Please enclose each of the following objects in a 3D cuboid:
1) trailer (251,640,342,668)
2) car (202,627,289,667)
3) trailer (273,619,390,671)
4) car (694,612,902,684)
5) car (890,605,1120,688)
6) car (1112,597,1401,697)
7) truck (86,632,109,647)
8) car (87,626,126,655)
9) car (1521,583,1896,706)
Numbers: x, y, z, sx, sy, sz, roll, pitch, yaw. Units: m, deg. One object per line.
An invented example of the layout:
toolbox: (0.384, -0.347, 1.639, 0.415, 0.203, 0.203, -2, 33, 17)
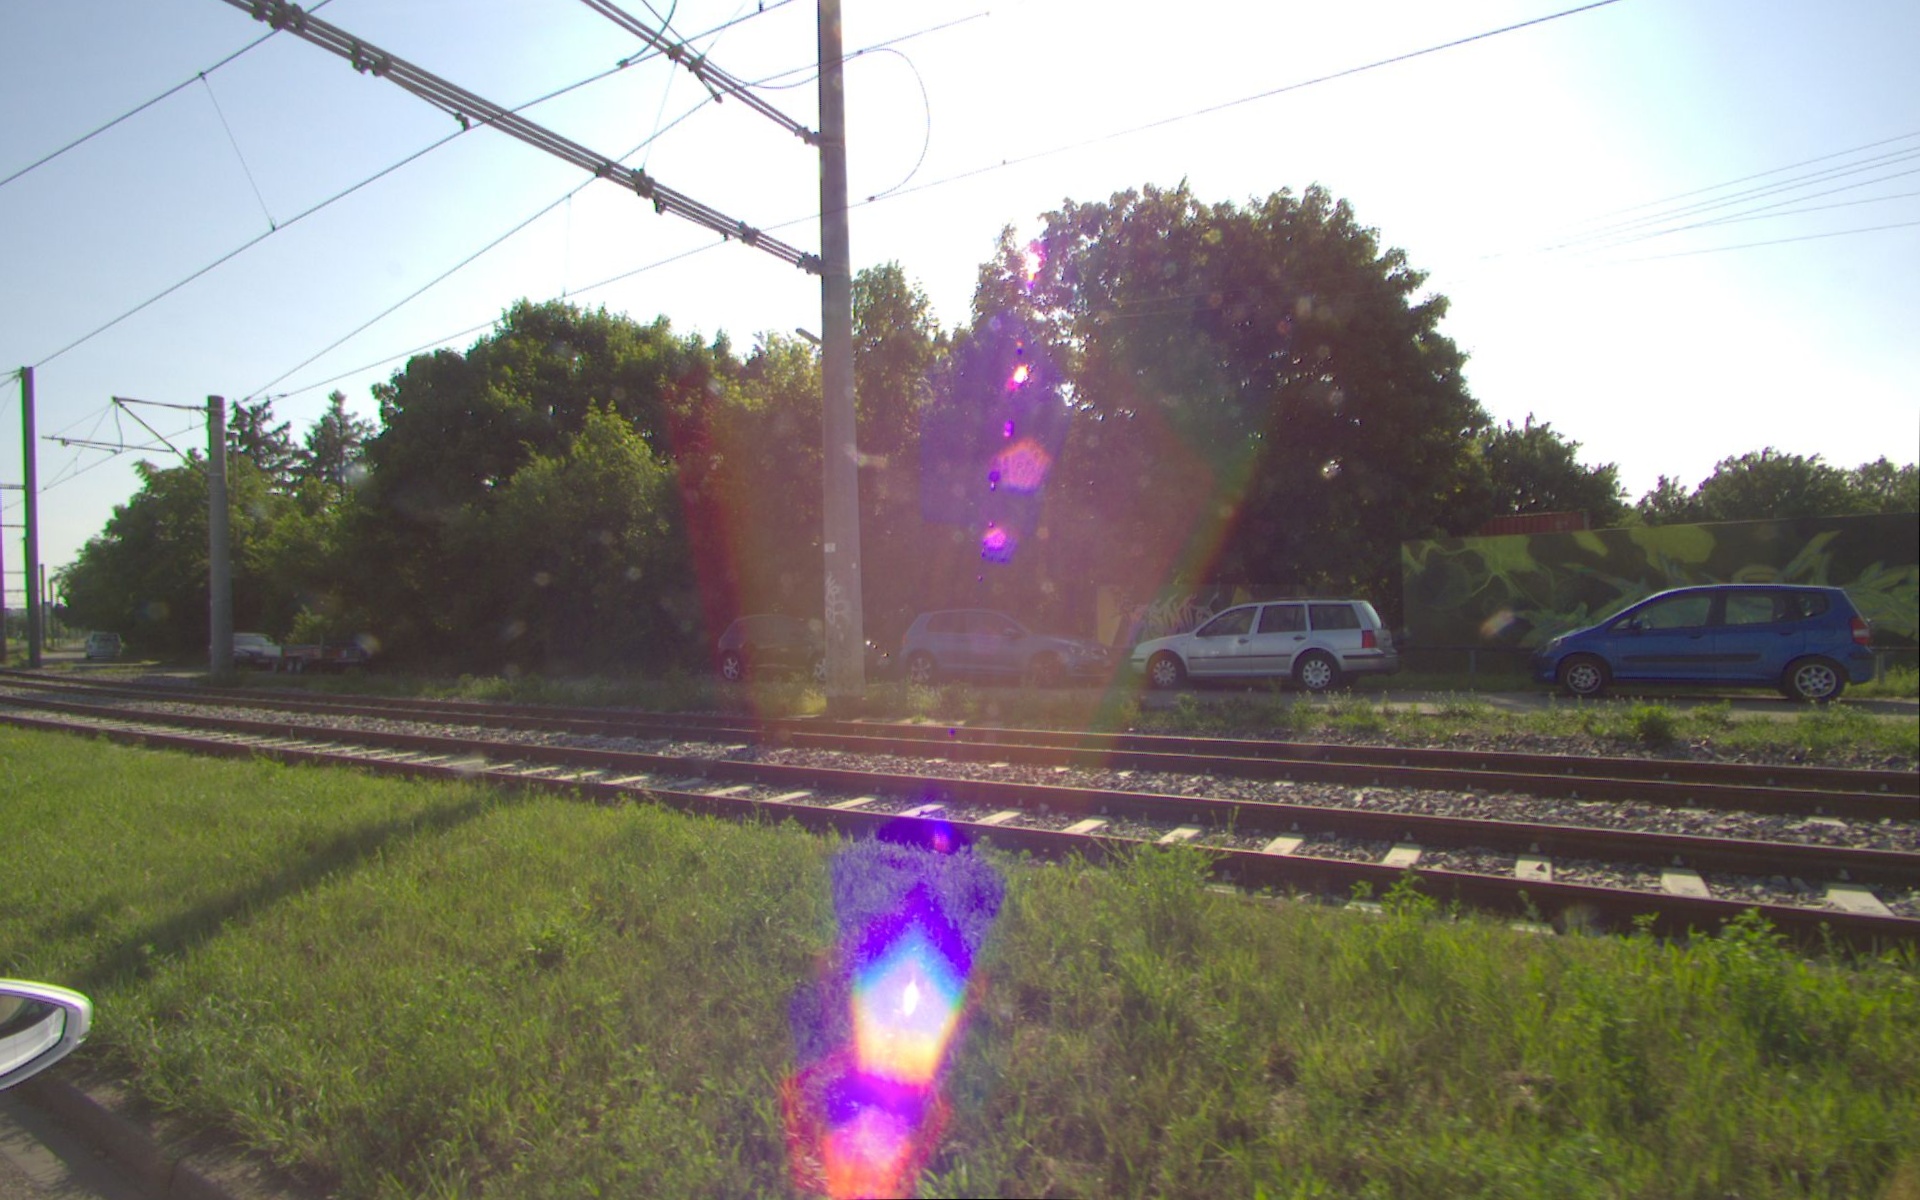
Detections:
trailer: (-23.779, 1.940, 35.854, 3.684, 0.951, 1.725, -2, -4, 40)
car: (-27.597, 1.792, 38.620, 4.826, 1.474, 1.691, -1, -3, 42)
trailer: (-20.833, 1.502, 33.149, 4.208, 1.616, 2.019, -2, -3, 39)
car: (-3.537, 1.019, 21.546, 4.455, 1.428, 1.620, -2, -2, 31)
car: (0.811, 0.852, 18.912, 4.086, 1.419, 1.483, -1, 0, 28)
car: (4.887, 0.727, 16.711, 4.329, 1.485, 1.705, -1, 0, 33)
truck: (-111.185, 5.077, 129.053, 2.188, 1.842, 5.877, 0, -1, -42)
car: (-61.970, 2.944, 72.682, 1.980, 2.029, 5.022, 3, -4, -42)
car: (9.885, 0.583, 13.570, 3.858, 1.448, 1.674, -1, -2, 35)
